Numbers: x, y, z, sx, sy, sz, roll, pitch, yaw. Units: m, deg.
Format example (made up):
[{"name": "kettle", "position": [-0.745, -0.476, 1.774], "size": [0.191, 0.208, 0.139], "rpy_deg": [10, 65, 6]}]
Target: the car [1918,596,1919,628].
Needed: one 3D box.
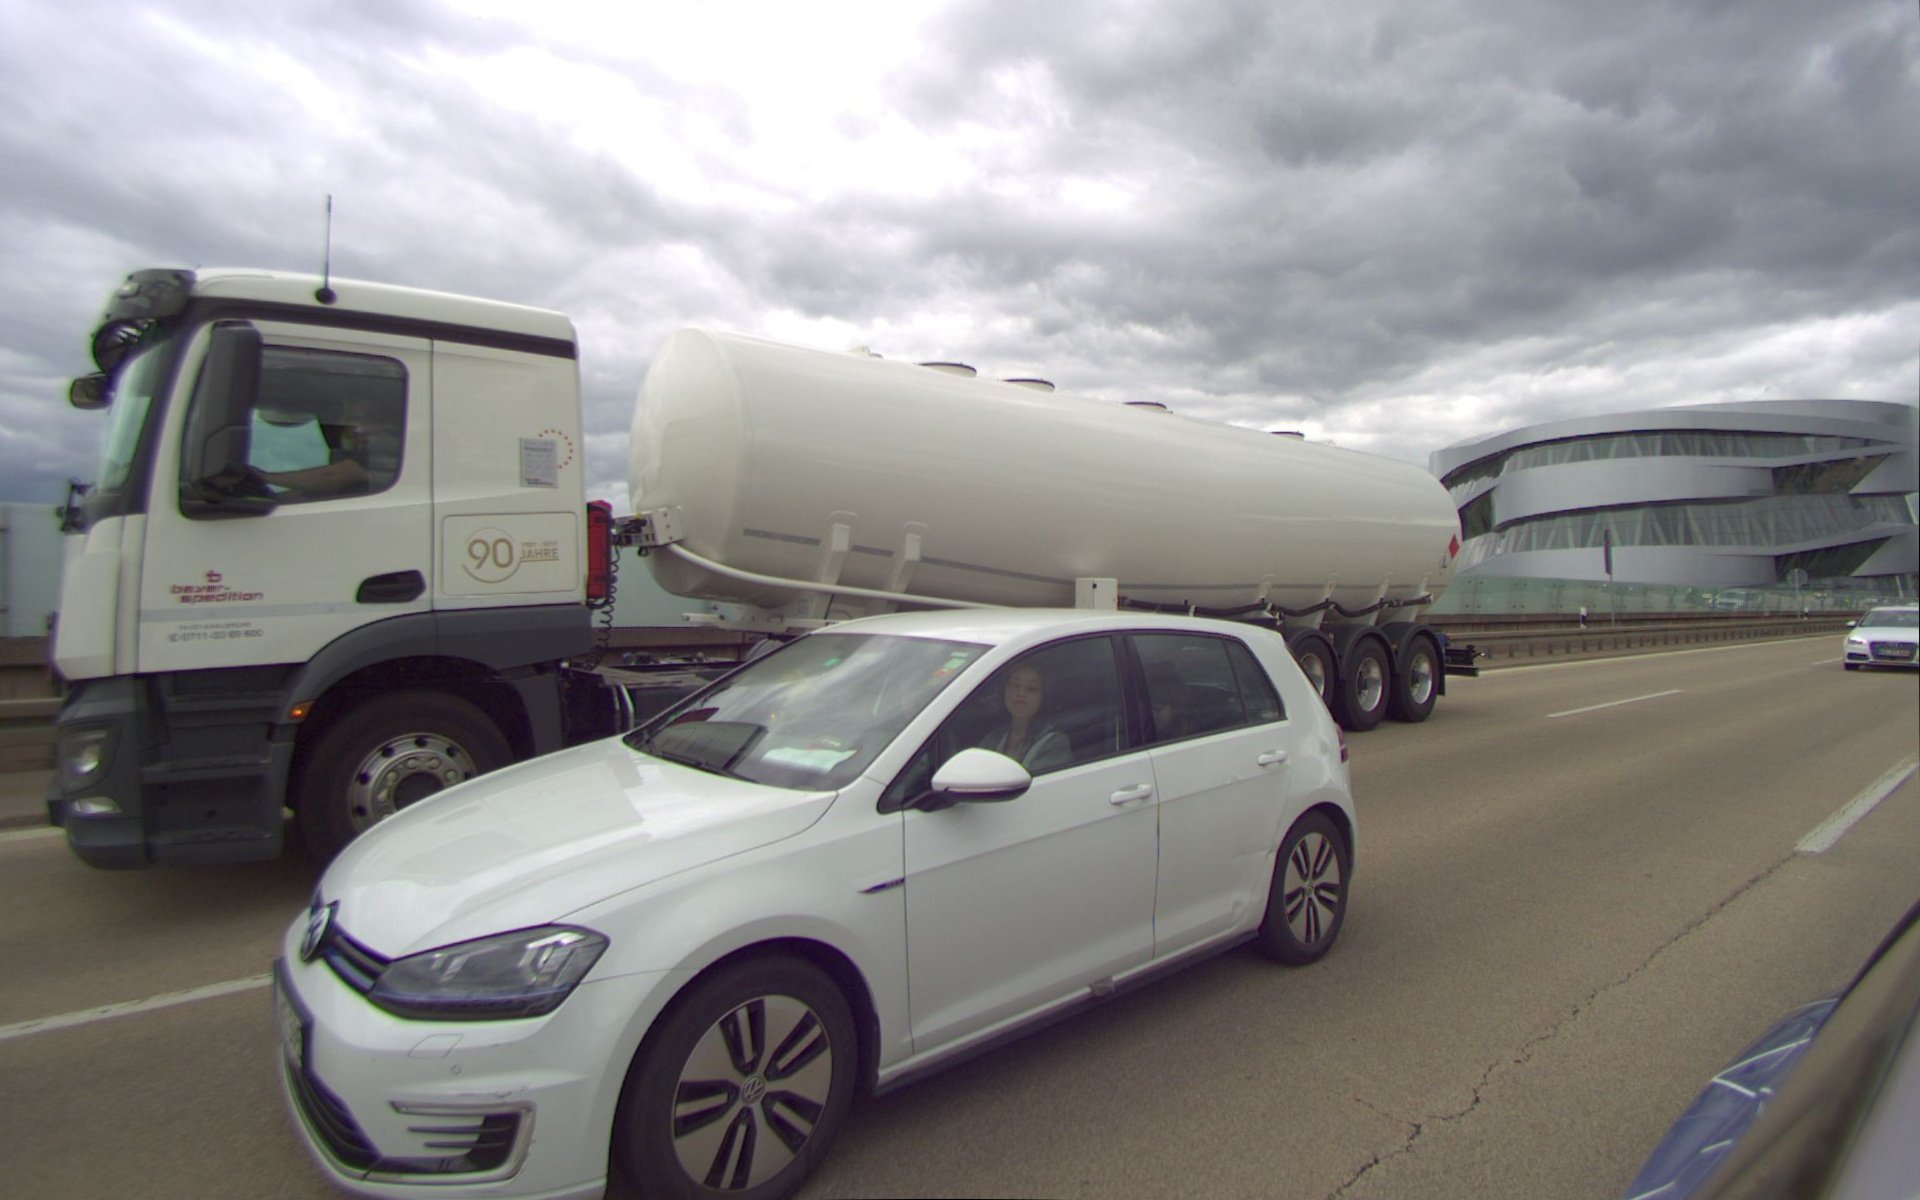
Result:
[{"name": "car", "position": [51.802, 0.615, 53.165], "size": [3.563, 1.654, 1.784], "rpy_deg": [0, 1, -40]}]

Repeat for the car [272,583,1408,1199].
[{"name": "car", "position": [-0.086, 0.705, 3.843], "size": [4.001, 1.470, 1.757], "rpy_deg": [0, 1, -42]}]

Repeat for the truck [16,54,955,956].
[{"name": "truck", "position": [-2.717, -0.434, 6.580], "size": [4.818, 3.558, 2.636], "rpy_deg": [-1, 1, -41]}]

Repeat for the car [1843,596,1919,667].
[{"name": "car", "position": [21.136, 0.660, 22.324], "size": [3.861, 1.470, 1.848], "rpy_deg": [0, 0, -38]}]

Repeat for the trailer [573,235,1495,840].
[{"name": "trailer", "position": [1.956, -0.414, 10.623], "size": [11.023, 3.588, 2.655], "rpy_deg": [0, 0, -41]}]
